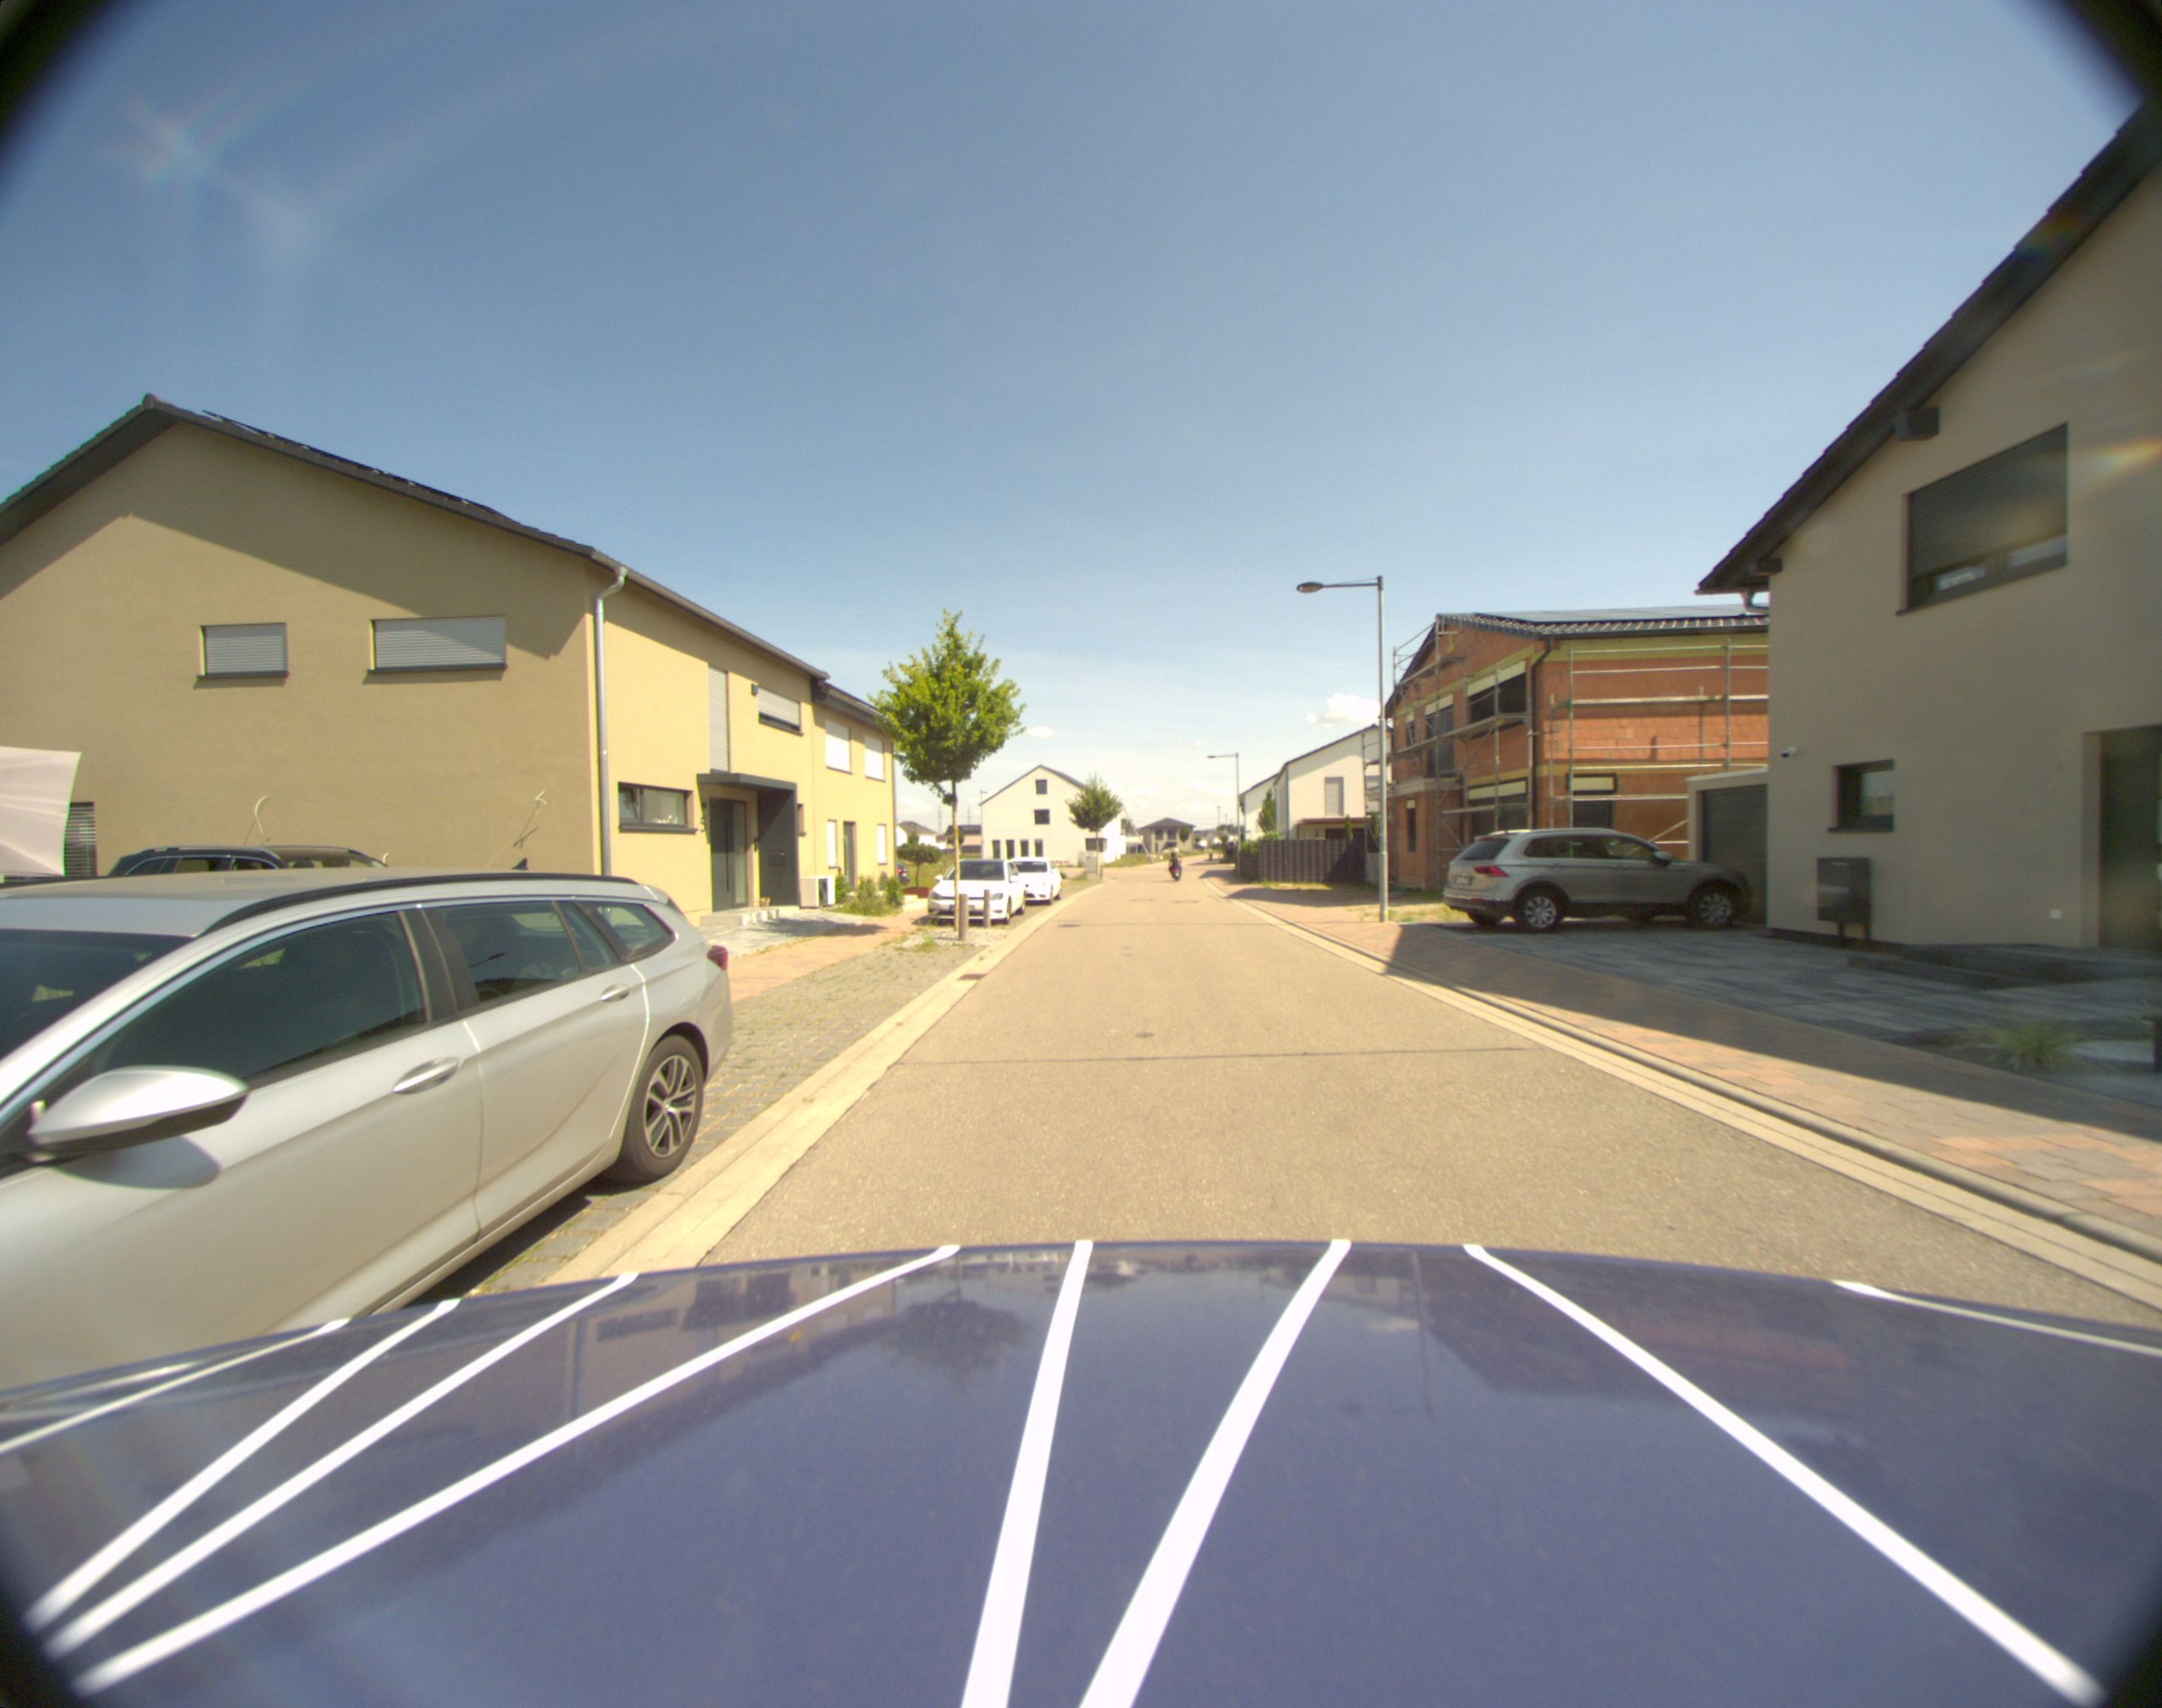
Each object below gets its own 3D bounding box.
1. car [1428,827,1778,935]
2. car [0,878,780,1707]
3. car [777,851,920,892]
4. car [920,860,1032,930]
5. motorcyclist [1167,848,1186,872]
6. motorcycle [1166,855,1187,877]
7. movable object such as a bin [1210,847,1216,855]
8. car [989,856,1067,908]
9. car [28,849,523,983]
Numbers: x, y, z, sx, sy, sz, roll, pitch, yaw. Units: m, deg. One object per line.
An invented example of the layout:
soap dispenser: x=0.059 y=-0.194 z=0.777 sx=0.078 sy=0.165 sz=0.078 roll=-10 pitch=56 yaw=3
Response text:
car: x=8.430 y=0.411 z=12.615 sx=4.435 sy=1.603 sz=2.000 roll=-1 pitch=1 yaw=1
car: x=-2.898 y=0.915 z=2.186 sx=1.923 sy=1.502 sz=5.294 roll=0 pitch=0 yaw=0
car: x=-8.992 y=0.648 z=29.574 sx=4.897 sy=1.418 sz=2.001 roll=1 pitch=1 yaw=6
car: x=-2.351 y=0.881 z=18.174 sx=1.783 sy=1.417 sz=4.515 roll=0 pitch=0 yaw=3
motorcyclist: x=5.024 y=0.327 z=39.836 sx=0.926 sy=1.215 sz=0.804 roll=-2 pitch=0 yaw=9
motorcycle: x=5.038 y=0.619 z=39.790 sx=0.957 sy=1.029 sz=2.437 roll=-3 pitch=1 yaw=9
movable object such as a bin: x=15.420 y=-0.355 z=88.864 sx=0.597 sy=0.916 sz=0.462 roll=-1 pitch=1 yaw=14
car: x=-1.589 y=0.814 z=24.464 sx=1.818 sy=1.447 sz=4.565 roll=0 pitch=1 yaw=5
car: x=-10.860 y=0.781 z=10.543 sx=4.757 sy=1.635 sz=2.000 roll=0 pitch=2 yaw=2
